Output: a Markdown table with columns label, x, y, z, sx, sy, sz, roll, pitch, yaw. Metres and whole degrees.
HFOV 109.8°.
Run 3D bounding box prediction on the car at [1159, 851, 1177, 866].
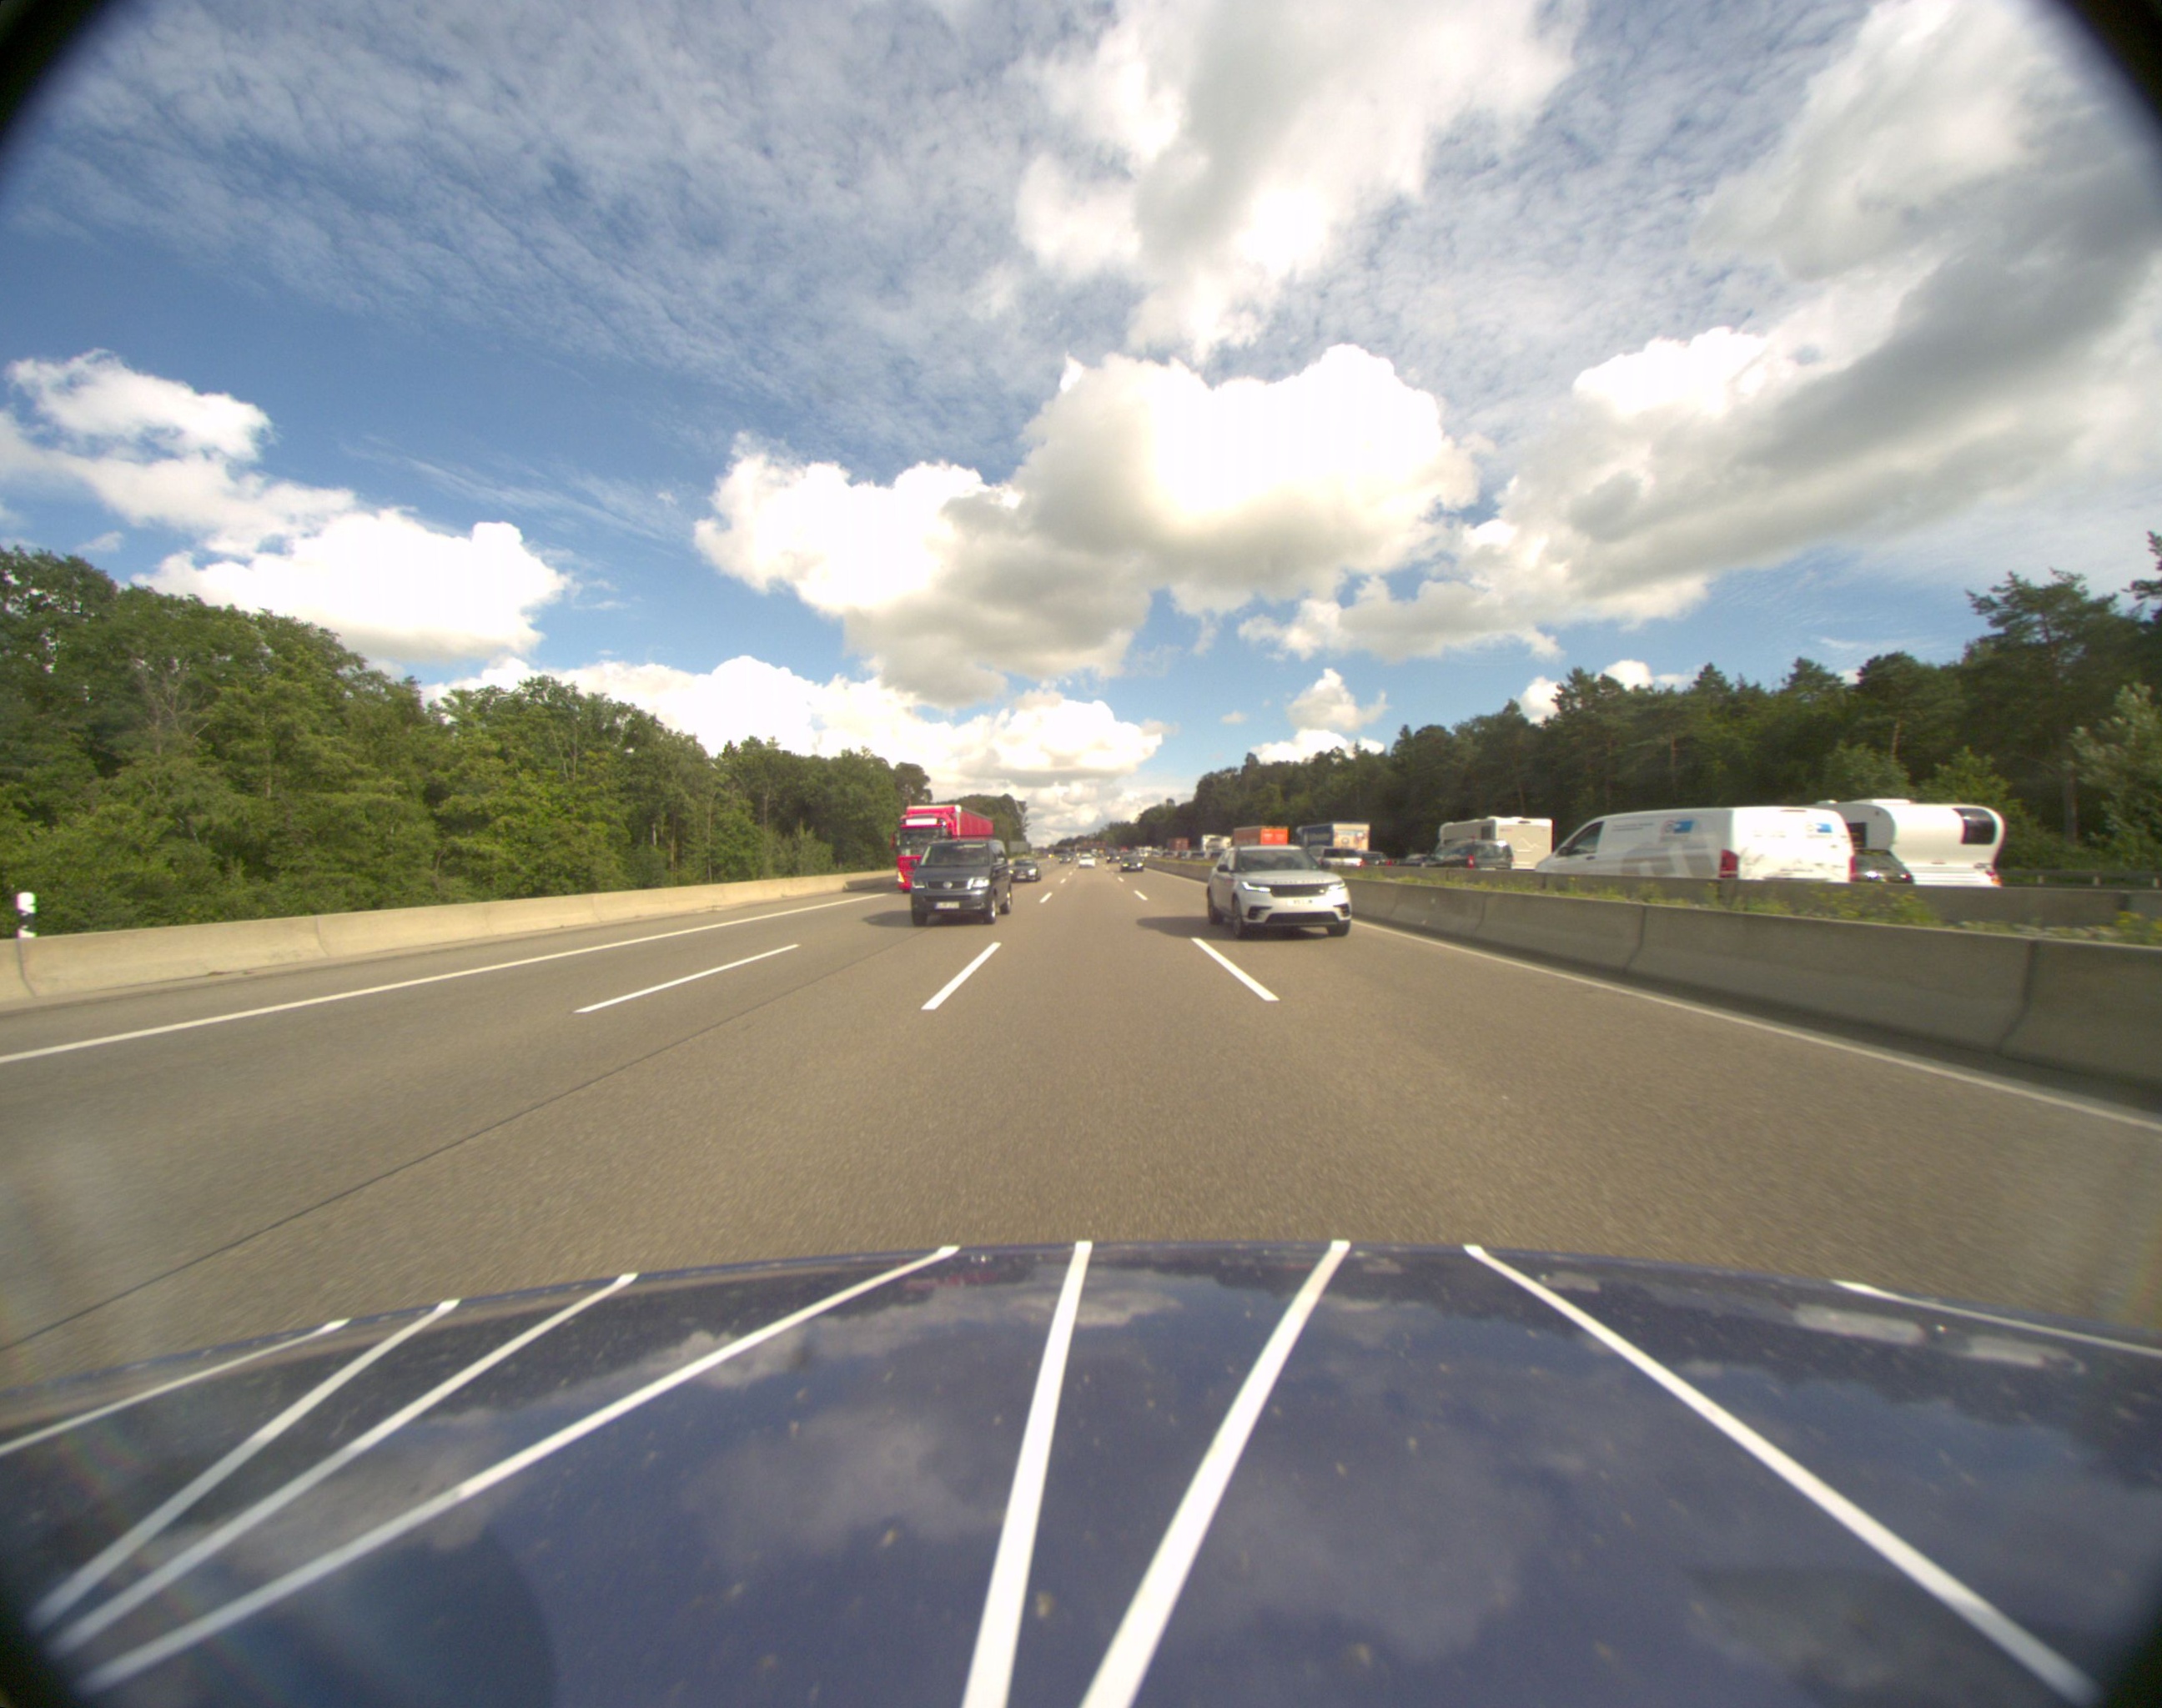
| label | x | y | z | sx | sy | sz | roll | pitch | yaw |
| --- | --- | --- | --- | --- | --- | --- | --- | --- | --- |
| car | 11.557 | 0.540 | 101.130 | 1.821 | 1.871 | 4.903 | -1 | 1 | 1 |

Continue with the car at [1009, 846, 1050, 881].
| label | x | y | z | sx | sy | sz | roll | pitch | yaw |
| --- | --- | --- | --- | --- | --- | --- | --- | --- | --- |
| car | -3.088 | 0.548 | 46.087 | 1.998 | 2.002 | 4.000 | -2 | 0 | 2 |

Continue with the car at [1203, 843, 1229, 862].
| label | x | y | z | sx | sy | sz | roll | pitch | yaw |
| --- | --- | --- | --- | --- | --- | --- | --- | --- | --- |
| car | 14.763 | -0.187 | 83.180 | 1.998 | 1.949 | 4.990 | -2 | 1 | 1 |

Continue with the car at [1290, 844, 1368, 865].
| label | x | y | z | sx | sy | sz | roll | pitch | yaw |
| --- | --- | --- | --- | --- | --- | --- | --- | --- | --- |
| car | 9.748 | 0.010 | 30.226 | 1.651 | 0.720 | 4.447 | -2 | 0 | 0 |

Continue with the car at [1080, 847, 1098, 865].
| label | x | y | z | sx | sy | sz | roll | pitch | yaw |
| --- | --- | --- | --- | --- | --- | --- | --- | --- | --- |
| car | 0.952 | 0.246 | 87.346 | 1.998 | 2.002 | 4.000 | -2 | 0 | 2 |

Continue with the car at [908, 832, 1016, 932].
| label | x | y | z | sx | sy | sz | roll | pitch | yaw |
| --- | --- | --- | --- | --- | --- | --- | --- | --- | --- |
| car | -2.803 | 0.618 | 19.059 | 1.927 | 2.153 | 4.961 | -1 | 0 | 0 |

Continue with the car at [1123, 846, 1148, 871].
| label | x | y | z | sx | sy | sz | roll | pitch | yaw |
| --- | --- | --- | --- | --- | --- | --- | --- | --- | --- |
| car | 4.587 | 0.337 | 64.308 | 1.919 | 2.002 | 4.000 | -2 | 0 | 2 |

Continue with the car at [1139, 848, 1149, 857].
| label | x | y | z | sx | sy | sz | roll | pitch | yaw |
| --- | --- | --- | --- | --- | --- | --- | --- | --- | --- |
| car | 11.408 | -0.333 | 137.920 | 1.515 | 1.552 | 3.999 | -1 | 1 | -1 |

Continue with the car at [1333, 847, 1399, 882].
| label | x | y | z | sx | sy | sz | roll | pitch | yaw |
| --- | --- | --- | --- | --- | --- | --- | --- | --- | --- |
| car | 14.792 | 0.504 | 39.682 | 1.837 | 1.650 | 4.271 | -1 | 1 | 0 |

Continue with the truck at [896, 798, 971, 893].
| label | x | y | z | sx | sy | sz | roll | pitch | yaw |
| --- | --- | --- | --- | --- | --- | --- | --- | --- | --- |
| truck | -6.957 | -0.403 | 36.385 | 2.532 | 4.178 | 4.653 | -1 | 1 | 1 |

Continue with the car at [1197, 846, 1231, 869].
| label | x | y | z | sx | sy | sz | roll | pitch | yaw |
| --- | --- | --- | --- | --- | --- | --- | --- | --- | --- |
| car | 10.480 | 0.235 | 60.152 | 1.821 | 1.754 | 4.630 | -1 | 1 | 0 |

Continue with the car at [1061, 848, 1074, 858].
| label | x | y | z | sx | sy | sz | roll | pitch | yaw |
| --- | --- | --- | --- | --- | --- | --- | --- | --- | --- |
| car | -2.212 | -0.144 | 124.503 | 1.911 | 1.582 | 4.286 | -2 | 1 | -2 |

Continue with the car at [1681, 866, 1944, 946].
| label | x | y | z | sx | sy | sz | roll | pitch | yaw |
| --- | --- | --- | --- | --- | --- | --- | --- | --- | --- |
| car | 13.982 | 0.923 | 14.840 | 1.667 | 1.249 | 3.590 | -2 | 0 | 0 |

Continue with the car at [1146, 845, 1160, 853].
| label | x | y | z | sx | sy | sz | roll | pitch | yaw |
| --- | --- | --- | --- | --- | --- | --- | --- | --- | --- |
| car | 10.622 | -0.773 | 112.072 | 1.599 | 1.167 | 4.355 | -1 | 1 | -1 |

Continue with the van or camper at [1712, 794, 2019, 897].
| label | x | y | z | sx | sy | sz | roll | pitch | yaw |
| --- | --- | --- | --- | --- | --- | --- | --- | --- | --- |
| van or camper | 17.792 | -0.183 | 17.683 | 2.289 | 2.000 | 4.687 | -2 | 0 | 0 |

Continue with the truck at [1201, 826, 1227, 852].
| label | x | y | z | sx | sy | sz | roll | pitch | yaw |
| --- | --- | --- | --- | --- | --- | --- | --- | --- | --- |
| truck | 19.398 | -2.143 | 111.061 | 2.964 | 3.725 | 5.108 | -1 | 1 | 1 |

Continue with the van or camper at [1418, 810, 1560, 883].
| label | x | y | z | sx | sy | sz | roll | pitch | yaw |
| --- | --- | --- | --- | --- | --- | --- | --- | --- | --- |
| van or camper | 18.030 | -0.414 | 34.247 | 2.476 | 2.873 | 7.480 | -2 | 2 | 1 |

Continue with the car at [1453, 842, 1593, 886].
| label | x | y | z | sx | sy | sz | roll | pitch | yaw |
| --- | --- | --- | --- | --- | --- | --- | --- | --- | --- |
| car | 14.035 | 0.274 | 24.479 | 1.837 | 1.223 | 4.566 | -2 | 0 | 0 |

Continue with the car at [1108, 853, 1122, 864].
| label | x | y | z | sx | sy | sz | roll | pitch | yaw |
| --- | --- | --- | --- | --- | --- | --- | --- | --- | --- |
| car | 5.082 | 0.633 | 114.036 | 1.911 | 1.582 | 4.287 | -2 | 1 | 1 |

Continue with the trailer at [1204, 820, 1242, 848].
| label | x | y | z | sx | sy | sz | roll | pitch | yaw |
| --- | --- | --- | --- | --- | --- | --- | --- | --- | --- |
| trailer | 19.327 | -2.649 | 104.283 | 2.957 | 3.478 | 12.230 | -2 | 1 | 1 |

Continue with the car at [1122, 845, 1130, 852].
| label | x | y | z | sx | sy | sz | roll | pitch | yaw |
| --- | --- | --- | --- | --- | --- | --- | --- | --- | --- |
| car | 12.623 | -1.504 | 214.509 | 1.998 | 1.838 | 4.000 | -1 | 1 | 1 |

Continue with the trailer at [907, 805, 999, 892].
| label | x | y | z | sx | sy | sz | roll | pitch | yaw |
| --- | --- | --- | --- | --- | --- | --- | --- | --- | --- |
| trailer | -6.859 | -0.318 | 43.365 | 2.531 | 4.096 | 14.376 | -1 | 1 | 1 |

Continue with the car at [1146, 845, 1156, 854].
| label | x | y | z | sx | sy | sz | roll | pitch | yaw |
| --- | --- | --- | --- | --- | --- | --- | --- | --- | --- |
| car | 16.221 | -1.153 | 176.480 | 1.998 | 2.002 | 3.999 | -2 | 1 | 1 |

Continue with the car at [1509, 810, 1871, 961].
| label | x | y | z | sx | sy | sz | roll | pitch | yaw |
| --- | --- | --- | --- | --- | --- | --- | --- | --- | --- |
| car | 9.831 | 0.415 | 13.087 | 1.837 | 2.050 | 5.500 | 0 | 0 | 0 |

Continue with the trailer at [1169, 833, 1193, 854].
| label | x | y | z | sx | sy | sz | roll | pitch | yaw |
| --- | --- | --- | --- | --- | --- | --- | --- | --- | --- |
| trailer | 19.693 | -2.051 | 150.375 | 2.957 | 3.961 | 12.890 | -2 | 1 | 1 |

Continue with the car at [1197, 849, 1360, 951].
| label | x | y | z | sx | sy | sz | roll | pitch | yaw |
| --- | --- | --- | --- | --- | --- | --- | --- | --- | --- |
| car | 3.606 | 0.747 | 14.905 | 1.904 | 1.597 | 5.105 | -2 | 0 | 1 |

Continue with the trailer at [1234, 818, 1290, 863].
| label | x | y | z | sx | sy | sz | roll | pitch | yaw |
| --- | --- | --- | --- | --- | --- | --- | --- | --- | --- |
| trailer | 18.728 | -1.414 | 79.682 | 2.646 | 4.295 | 13.175 | -3 | 1 | 1 |

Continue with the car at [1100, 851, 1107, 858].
| label | x | y | z | sx | sy | sz | roll | pitch | yaw |
| --- | --- | --- | --- | --- | --- | --- | --- | --- | --- |
| car | 6.068 | 0.069 | 204.165 | 1.804 | 1.783 | 3.758 | -1 | 0 | 1 |

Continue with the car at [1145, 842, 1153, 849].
| label | x | y | z | sx | sy | sz | roll | pitch | yaw |
| --- | --- | --- | --- | --- | --- | --- | --- | --- | --- |
| car | 19.725 | -2.385 | 220.168 | 1.998 | 2.002 | 4.000 | -1 | 1 | 1 |

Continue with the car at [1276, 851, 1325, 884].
| label | x | y | z | sx | sy | sz | roll | pitch | yaw |
| --- | --- | --- | --- | --- | --- | --- | --- | --- | --- |
| car | 14.533 | 0.855 | 50.554 | 1.837 | 2.048 | 4.636 | -2 | 0 | 0 |

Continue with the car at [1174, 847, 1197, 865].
| label | x | y | z | sx | sy | sz | roll | pitch | yaw |
| --- | --- | --- | --- | --- | --- | --- | --- | --- | --- |
| car | 11.462 | 0.163 | 83.779 | 1.821 | 1.871 | 4.903 | -1 | 1 | 0 |

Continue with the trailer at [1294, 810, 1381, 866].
| label | x | y | z | sx | sy | sz | roll | pitch | yaw |
| --- | --- | --- | --- | --- | --- | --- | --- | --- | --- |
| trailer | 18.368 | -1.131 | 55.193 | 2.895 | 3.637 | 10.219 | -1 | 1 | 1 |

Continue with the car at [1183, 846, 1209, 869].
| label | x | y | z | sx | sy | sz | roll | pitch | yaw |
| --- | --- | --- | --- | --- | --- | --- | --- | --- | --- |
| car | 10.767 | 0.337 | 71.332 | 1.747 | 2.002 | 4.682 | -2 | 1 | 1 |

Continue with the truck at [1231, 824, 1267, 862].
| label | x | y | z | sx | sy | sz | roll | pitch | yaw |
| --- | --- | --- | --- | --- | --- | --- | --- | --- | --- |
| truck | 18.833 | -1.230 | 85.578 | 2.620 | 4.047 | 6.717 | -1 | 1 | 1 |

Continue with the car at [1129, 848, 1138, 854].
| label | x | y | z | sx | sy | sz | roll | pitch | yaw |
| --- | --- | --- | --- | --- | --- | --- | --- | --- | --- |
| car | 11.788 | -0.652 | 171.337 | 1.762 | 1.271 | 4.000 | -1 | 1 | 1 |

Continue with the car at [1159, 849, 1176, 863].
| label | x | y | z | sx | sy | sz | roll | pitch | yaw |
| --- | --- | --- | --- | --- | --- | --- | --- | --- | --- |
| car | 11.475 | 0.210 | 101.085 | 1.821 | 1.735 | 4.903 | -1 | 1 | 1 |
